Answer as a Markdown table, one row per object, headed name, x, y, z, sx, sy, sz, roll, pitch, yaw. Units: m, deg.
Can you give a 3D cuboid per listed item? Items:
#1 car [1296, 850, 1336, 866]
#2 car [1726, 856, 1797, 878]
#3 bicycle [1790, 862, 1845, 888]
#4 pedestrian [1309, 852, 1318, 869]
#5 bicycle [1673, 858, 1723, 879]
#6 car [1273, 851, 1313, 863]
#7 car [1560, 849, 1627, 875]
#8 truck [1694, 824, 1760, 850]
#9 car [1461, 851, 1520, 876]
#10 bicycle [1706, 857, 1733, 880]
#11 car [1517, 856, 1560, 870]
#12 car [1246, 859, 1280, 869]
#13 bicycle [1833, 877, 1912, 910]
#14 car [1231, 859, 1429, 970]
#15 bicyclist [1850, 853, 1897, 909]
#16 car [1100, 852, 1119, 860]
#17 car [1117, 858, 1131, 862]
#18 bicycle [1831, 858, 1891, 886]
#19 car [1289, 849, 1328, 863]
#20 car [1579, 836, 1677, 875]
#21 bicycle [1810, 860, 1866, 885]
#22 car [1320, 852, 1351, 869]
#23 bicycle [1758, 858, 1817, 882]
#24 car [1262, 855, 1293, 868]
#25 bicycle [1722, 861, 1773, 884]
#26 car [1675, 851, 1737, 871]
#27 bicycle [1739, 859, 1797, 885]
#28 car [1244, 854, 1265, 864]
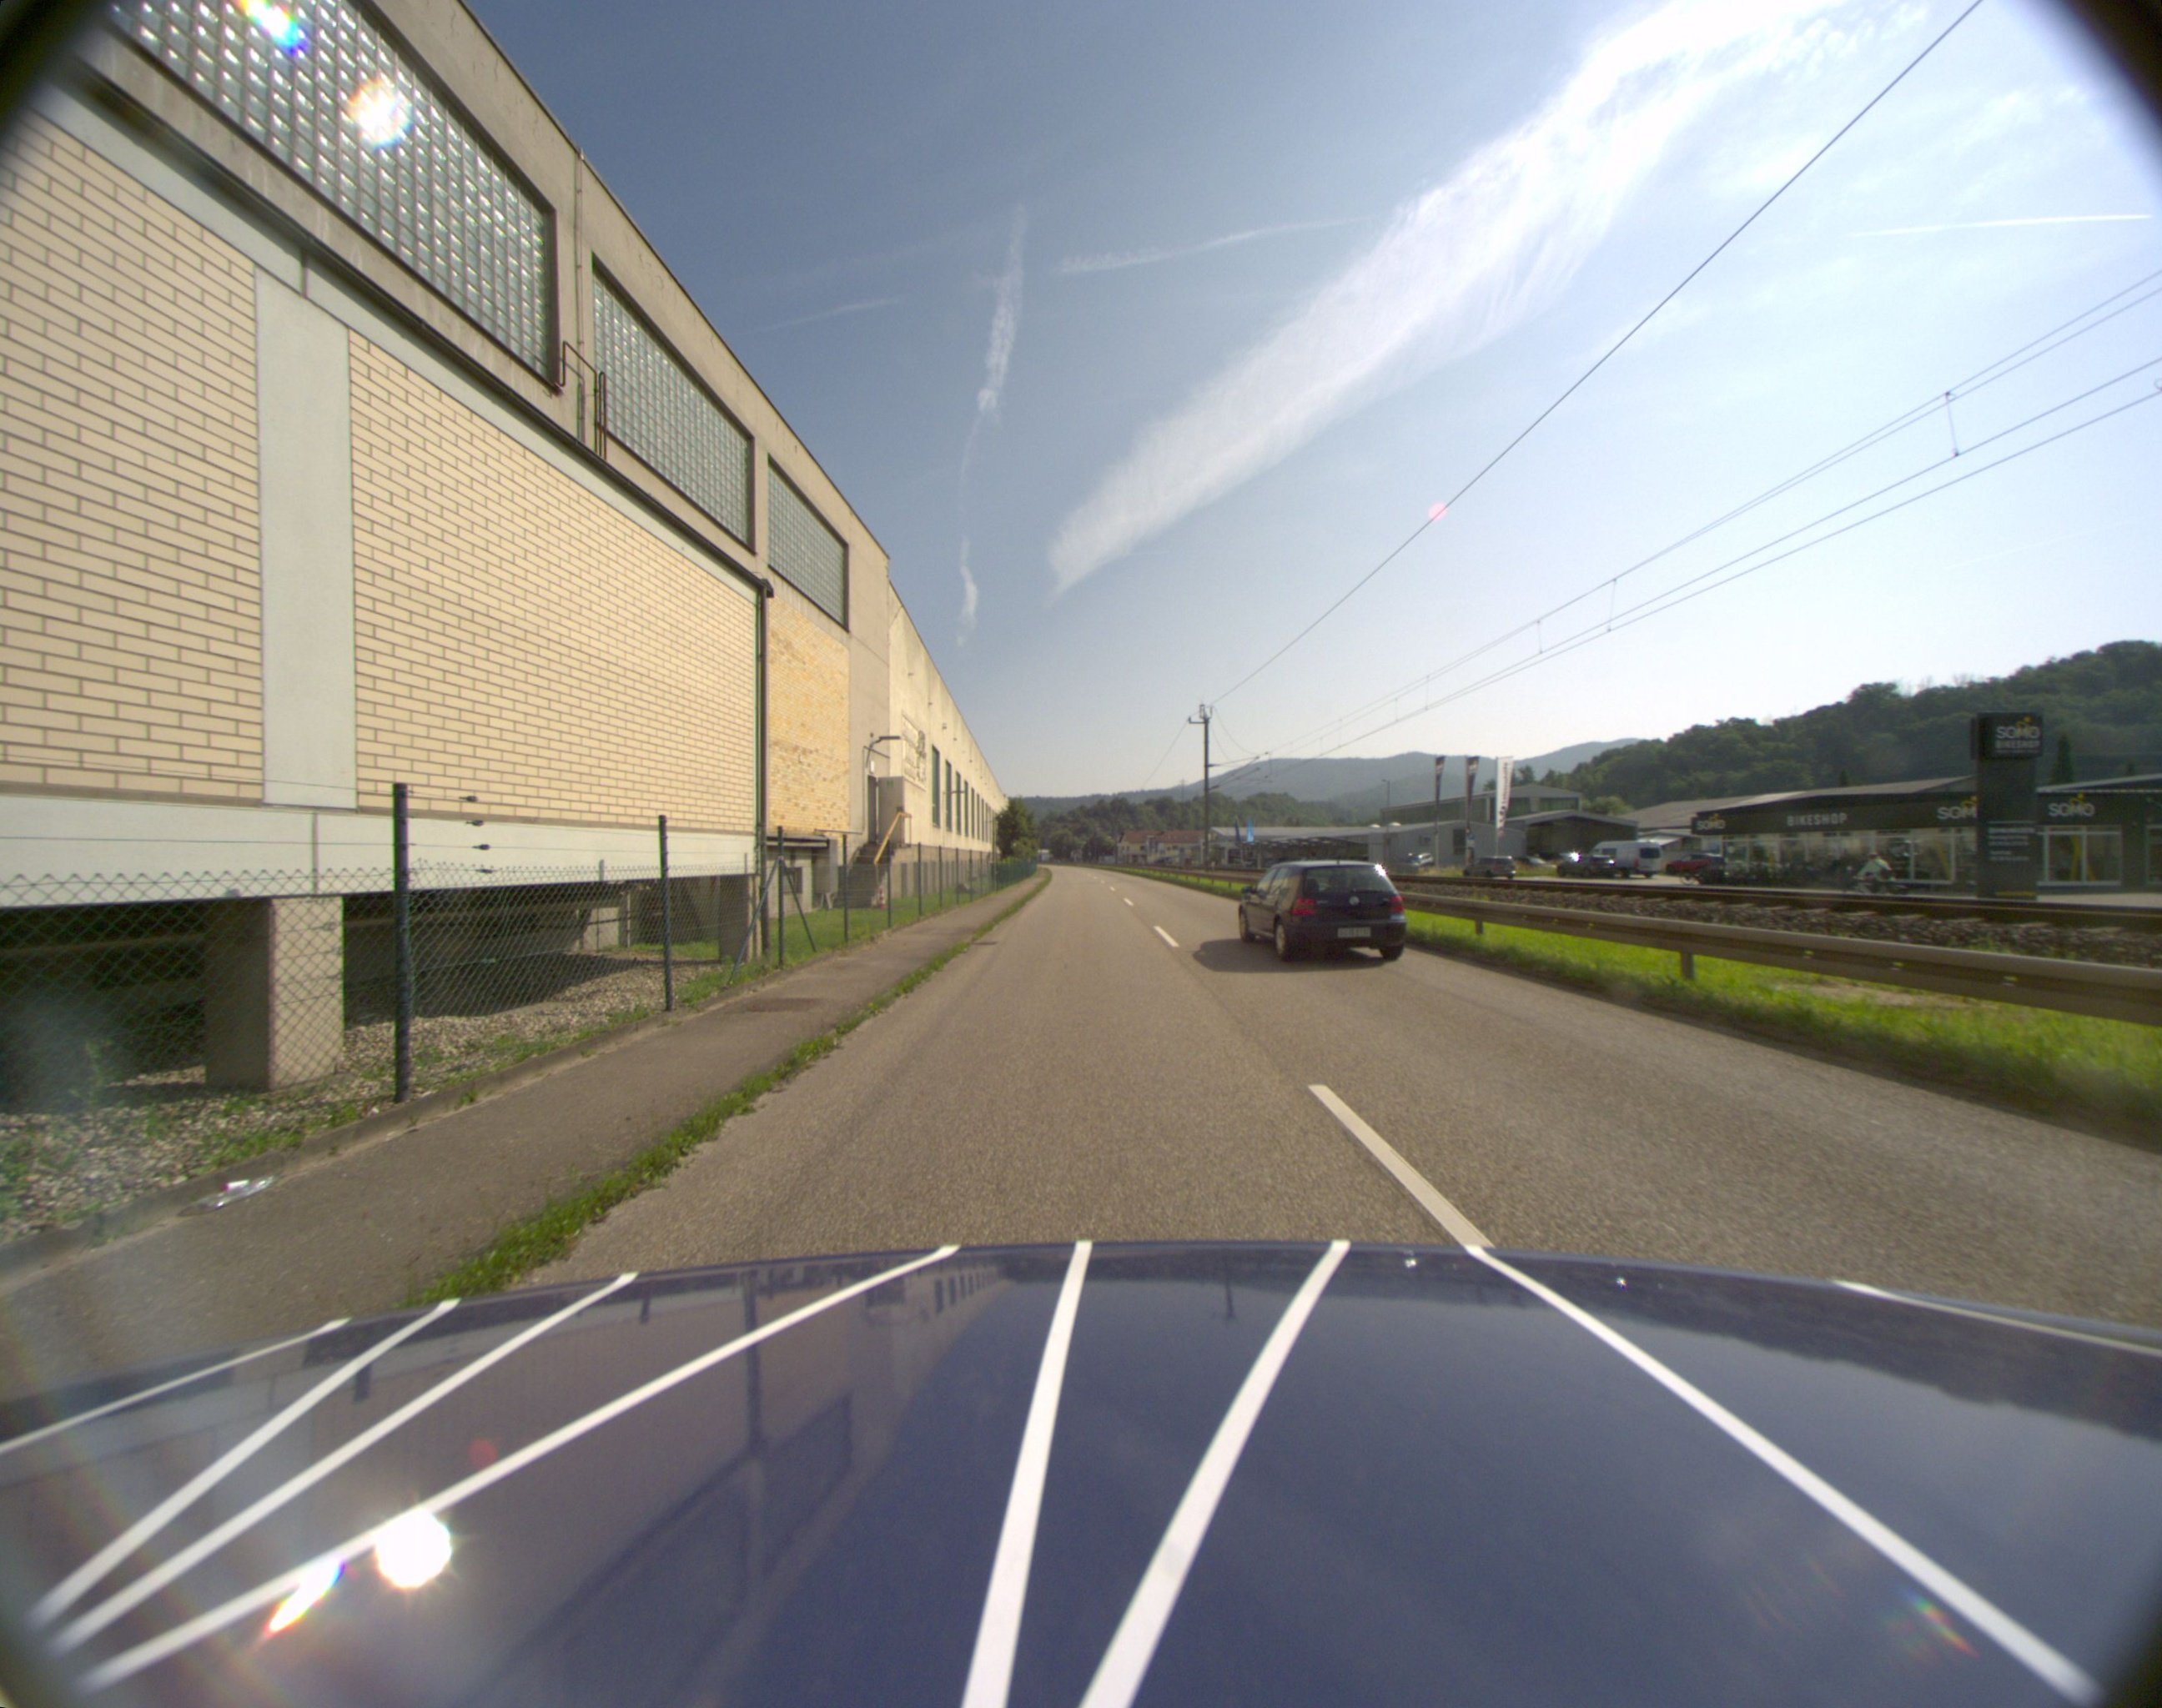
| name | x | y | z | sx | sy | sz | roll | pitch | yaw |
| --- | --- | --- | --- | --- | --- | --- | --- | --- | --- |
| car | 26.532 | 0.448 | 85.929 | 3.968 | 1.519 | 1.662 | -3 | 1 | -5 |
| car | 50.053 | 0.955 | 55.991 | 1.582 | 1.532 | 4.069 | 0 | 0 | -1 |
| bicycle | 34.209 | 0.963 | 35.298 | 2.175 | 1.124 | 0.729 | 0 | 1 | -11 |
| pedestrian | 24.546 | 0.703 | 80.233 | 0.834 | 1.724 | 0.805 | 0 | 0 | 10 |
| bicycle | 33.819 | 0.773 | 41.670 | 2.173 | 1.124 | 0.730 | 0 | 1 | -2 |
| car | 25.995 | 0.394 | 93.406 | 1.851 | 1.496 | 4.422 | -1 | 0 | -41 |
| car | 36.446 | 0.537 | 54.129 | 1.873 | 1.654 | 3.997 | 0 | 1 | -5 |
| truck | 61.502 | -1.660 | 72.470 | 1.999 | 2.411 | 4.639 | 0 | 2 | -5 |
| car | 29.252 | 0.667 | 54.398 | 1.523 | 1.679 | 4.368 | -2 | 1 | -5 |
| bicycle | 32.656 | 0.704 | 38.891 | 0.728 | 1.124 | 2.327 | 0 | 1 | 32 |
| car | 42.007 | 0.810 | 69.810 | 1.457 | 1.261 | 3.484 | 0 | 0 | -10 |
| car | 25.180 | 1.437 | 105.161 | 1.851 | 1.334 | 4.196 | -1 | 0 | -44 |
| bicycle | 23.834 | 1.174 | 22.924 | 0.547 | 0.917 | 1.709 | 0 | 0 | -3 |
| car | 3.627 | 0.796 | 11.883 | 1.768 | 1.395 | 4.120 | -1 | 0 | 1 |
| bicyclist | 23.829 | 0.792 | 22.852 | 0.534 | 1.637 | 0.832 | 0 | 0 | -3 |
| car | 9.200 | 0.732 | 244.032 | 5.590 | 2.402 | 2.235 | -1 | 0 | -8 |
| car | 12.794 | 1.723 | 225.726 | 3.859 | 1.292 | 1.647 | -1 | 0 | -11 |
| bicycle | 33.415 | 0.762 | 32.542 | 2.175 | 1.124 | 0.729 | 0 | 1 | -11 |
| car | 26.337 | 0.251 | 88.090 | 3.968 | 1.317 | 1.501 | -3 | 0 | -5 |
| car | 39.413 | 0.018 | 55.021 | 2.380 | 2.618 | 6.156 | 0 | 2 | -4 |
| bicycle | 34.402 | 0.837 | 34.544 | 2.175 | 1.124 | 0.729 | 0 | 1 | -11 |
| car | 27.087 | 0.681 | 80.863 | 1.659 | 1.613 | 4.039 | -3 | 1 | 40 |
| bicycle | 33.982 | 0.745 | 36.561 | 2.173 | 1.124 | 0.730 | 0 | 1 | -2 |
| car | 25.666 | 0.985 | 99.210 | 4.279 | 1.519 | 1.842 | -4 | 1 | -43 |
| bicycle | 34.392 | 0.956 | 39.222 | 0.729 | 1.124 | 2.174 | 0 | 0 | 0 |
| car | 44.725 | 0.498 | 54.476 | 1.518 | 1.349 | 3.520 | 0 | 0 | -1 |
| bicycle | 32.481 | 0.837 | 35.971 | 0.730 | 1.124 | 2.173 | 0 | 0 | -3 |
| car | 25.242 | 0.724 | 110.371 | 1.842 | 1.377 | 4.531 | -1 | 0 | 27 |
